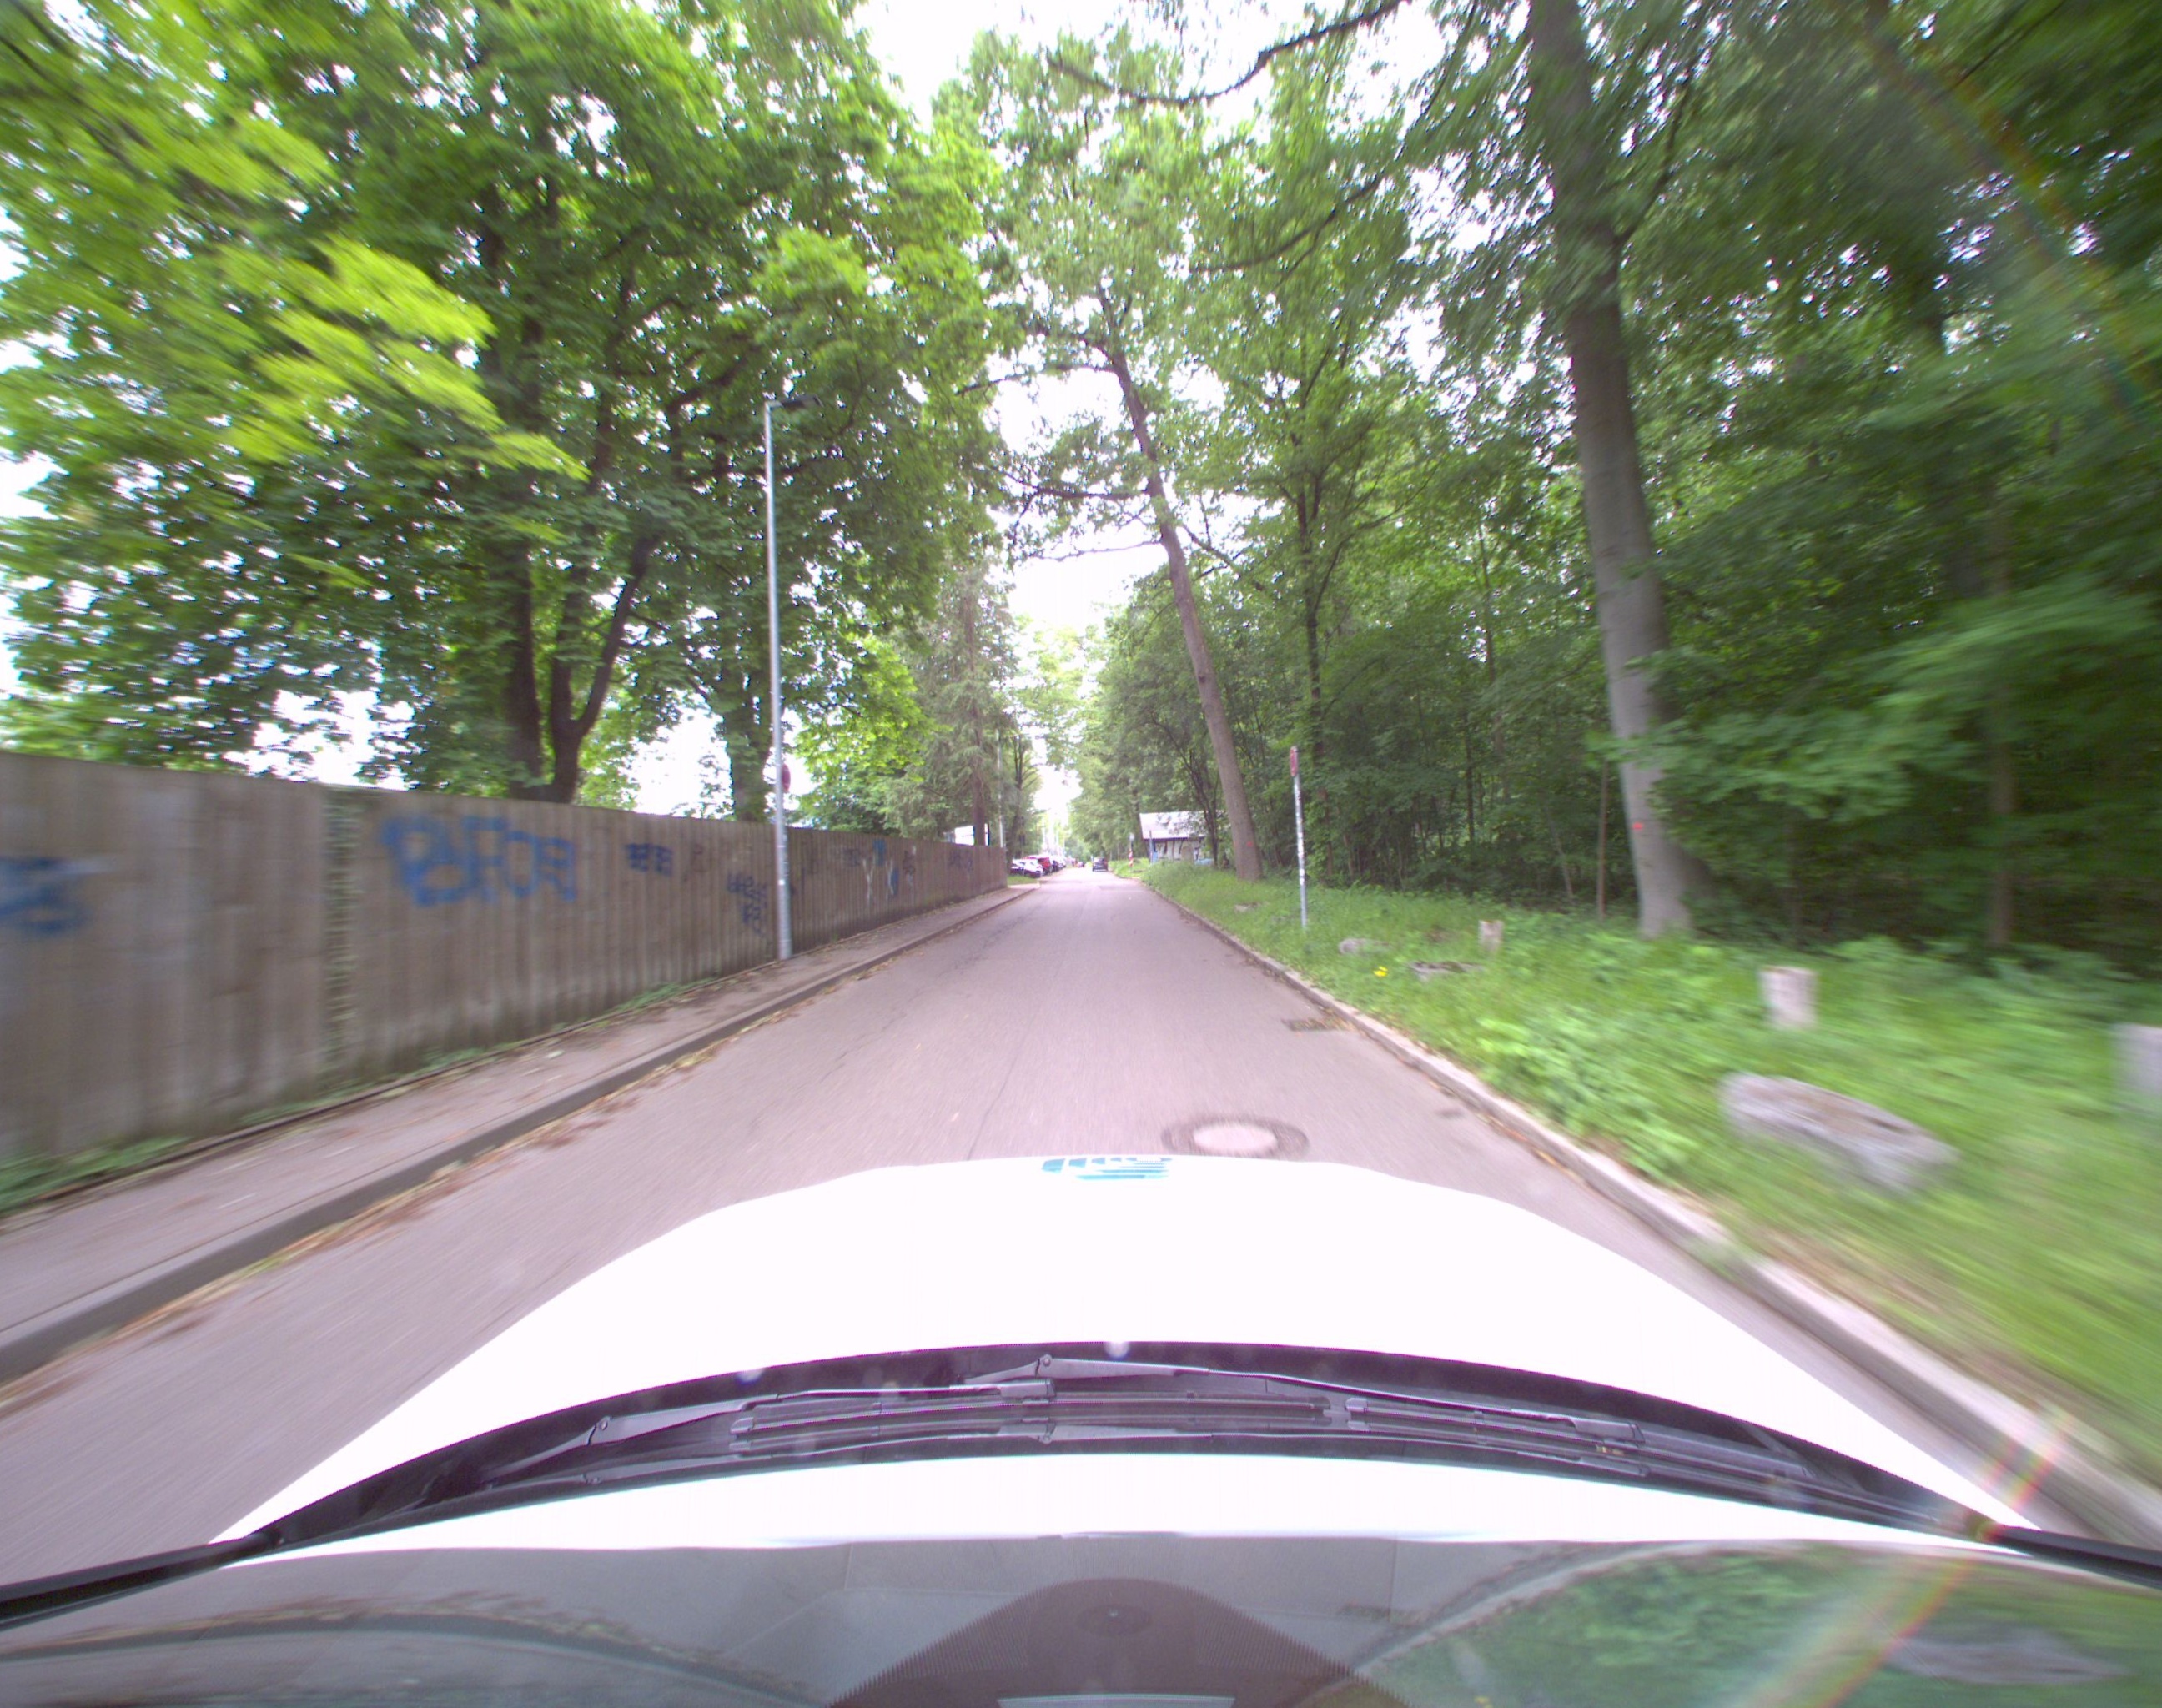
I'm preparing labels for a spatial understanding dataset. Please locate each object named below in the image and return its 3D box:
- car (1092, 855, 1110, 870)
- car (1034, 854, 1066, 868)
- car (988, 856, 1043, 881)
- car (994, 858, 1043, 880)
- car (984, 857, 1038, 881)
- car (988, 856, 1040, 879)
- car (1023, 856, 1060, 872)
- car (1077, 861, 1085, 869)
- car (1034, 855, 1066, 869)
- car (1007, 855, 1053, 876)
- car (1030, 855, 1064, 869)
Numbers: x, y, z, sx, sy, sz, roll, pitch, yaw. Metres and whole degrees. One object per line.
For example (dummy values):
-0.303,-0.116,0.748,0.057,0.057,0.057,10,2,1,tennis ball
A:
2.161,0.898,87.367,1.900,1.508,4.002,0,-1,2,car
-4.138,0.904,108.682,3.974,1.596,1.765,-4,-1,0,car
-4.871,1.077,60.846,3.978,1.574,1.998,-3,0,-3,car
-5.284,1.249,68.809,3.978,1.574,1.998,-3,0,-3,car
-5.388,1.159,63.183,3.978,1.574,1.998,-3,0,-3,car
-5.366,1.086,65.720,3.978,1.574,1.998,-3,0,-3,car
-3.998,1.061,83.065,3.559,1.407,1.650,-3,-1,1,car
-0.066,3.070,231.337,1.990,2.013,3.994,-3,0,-4,car
-3.519,0.909,92.840,3.559,1.407,1.650,-3,-1,1,car
-4.601,1.036,74.049,3.972,1.750,2.001,-3,0,1,car
-3.723,0.874,89.865,3.559,1.407,1.650,-3,-1,1,car
